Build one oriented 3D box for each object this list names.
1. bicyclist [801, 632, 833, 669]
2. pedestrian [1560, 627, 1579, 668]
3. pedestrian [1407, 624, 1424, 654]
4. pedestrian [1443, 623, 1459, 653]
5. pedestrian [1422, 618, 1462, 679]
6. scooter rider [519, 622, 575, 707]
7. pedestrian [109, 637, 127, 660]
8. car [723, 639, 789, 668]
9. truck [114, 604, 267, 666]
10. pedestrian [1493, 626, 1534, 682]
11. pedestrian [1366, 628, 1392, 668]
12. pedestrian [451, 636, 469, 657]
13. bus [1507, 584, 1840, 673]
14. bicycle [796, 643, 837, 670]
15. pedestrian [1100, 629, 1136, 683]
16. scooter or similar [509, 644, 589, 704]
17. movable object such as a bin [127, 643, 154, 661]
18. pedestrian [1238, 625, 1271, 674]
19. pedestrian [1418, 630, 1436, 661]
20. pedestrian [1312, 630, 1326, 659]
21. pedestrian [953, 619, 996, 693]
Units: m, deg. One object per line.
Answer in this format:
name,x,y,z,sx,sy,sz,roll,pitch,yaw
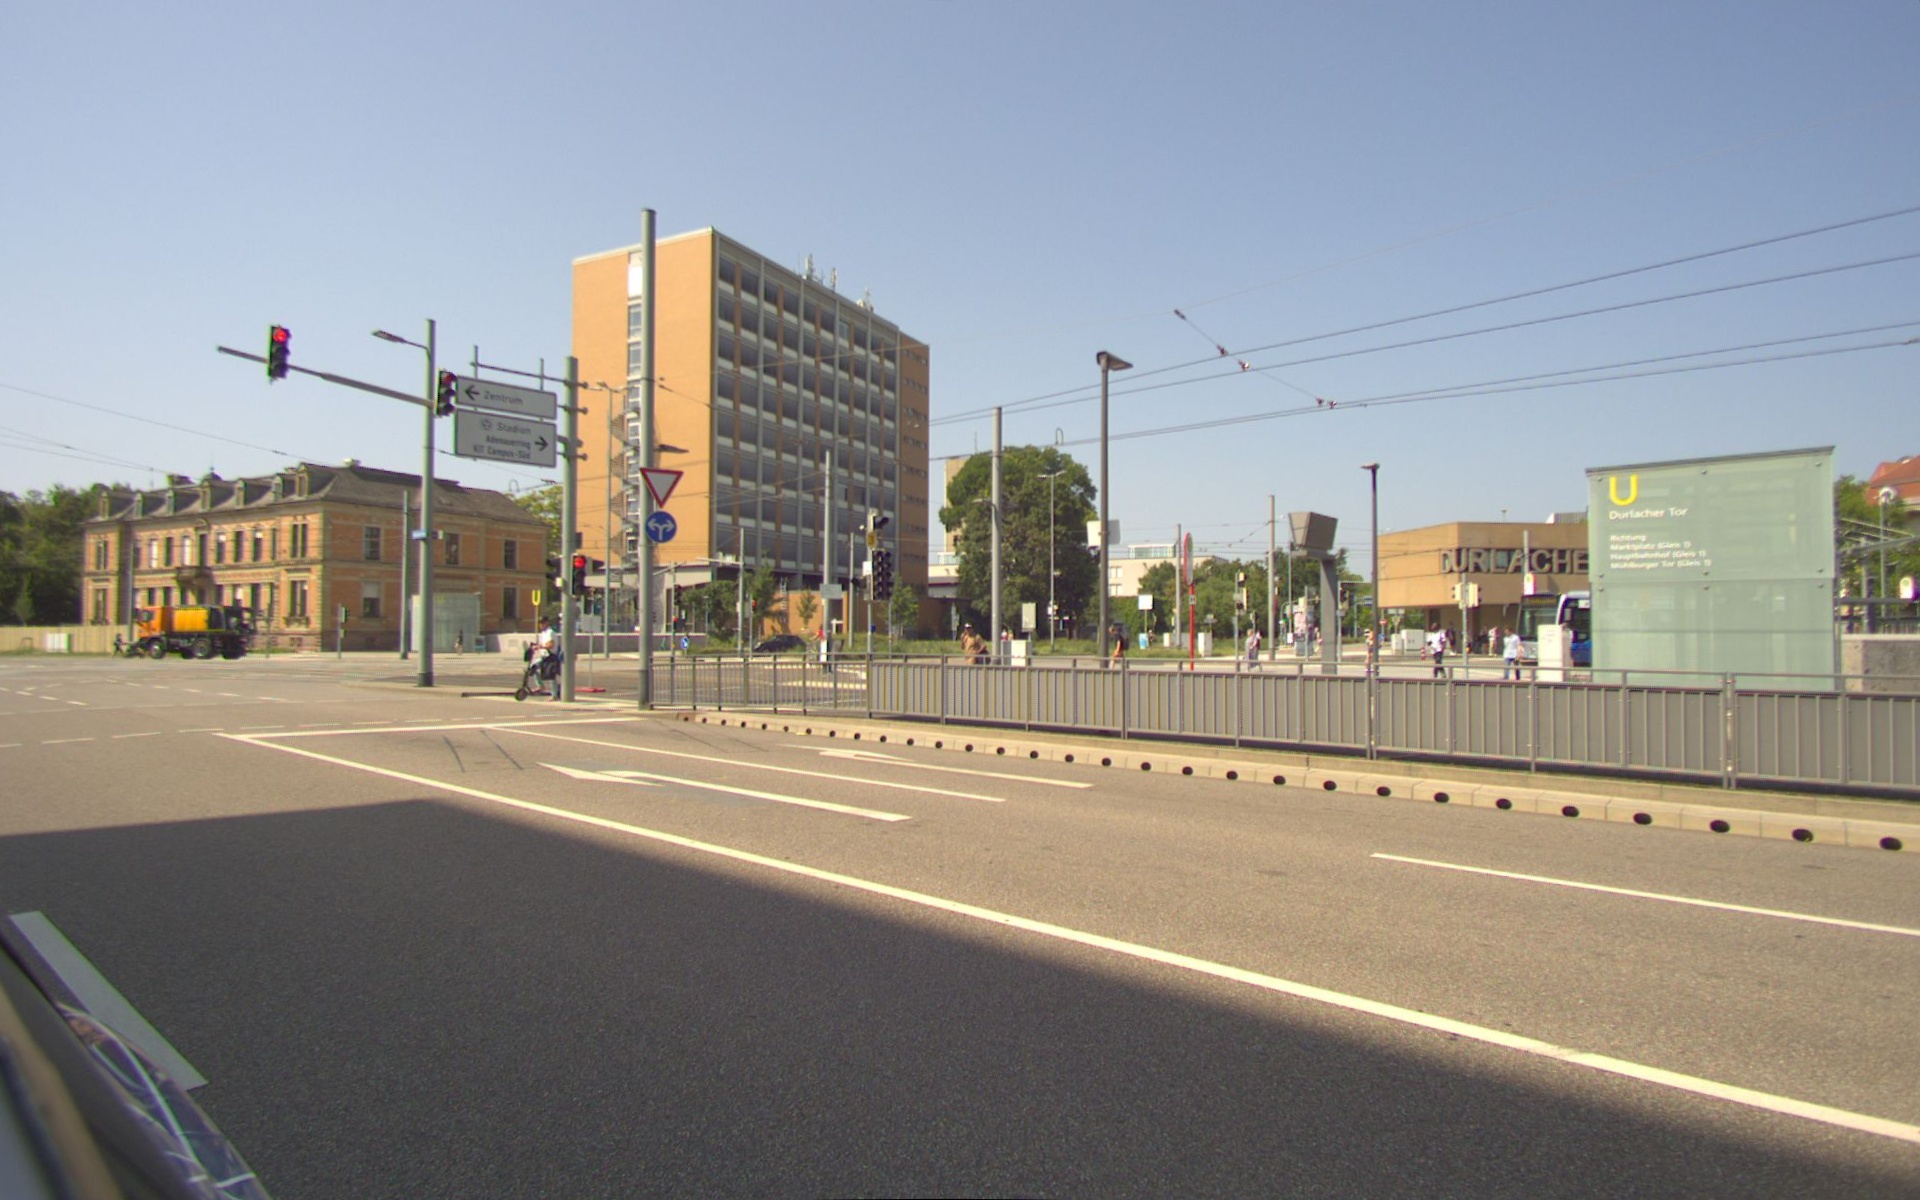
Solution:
bicyclist,-5.845,2.046,41.304,0.980,1.470,0.865,-2,-3,43
pedestrian,23.159,1.791,38.444,0.575,1.540,0.594,0,-2,30
pedestrian,25.641,2.199,56.920,0.578,1.689,0.579,-1,-4,-4
pedestrian,27.002,2.091,55.662,0.571,1.658,0.505,-5,-5,42
pedestrian,13.961,1.408,29.305,0.667,1.741,0.786,0,-3,-11
scooter rider,-8.466,1.307,20.763,0.777,1.686,0.764,-2,-3,36
pedestrian,-51.512,2.967,61.923,0.804,1.362,0.720,2,-4,-43
car,-13.868,3.637,68.703,3.932,1.808,2.006,0,-4,-31
truck,-44.640,2.088,58.791,7.111,3.254,3.033,-2,-4,10
pedestrian,15.669,1.526,28.657,0.667,1.560,0.786,0,-1,-11
pedestrian,19.115,2.186,46.201,0.945,1.793,0.786,2,-2,-44
pedestrian,-33.434,3.091,67.623,0.786,1.405,0.836,-3,-3,42
bus,29.044,1.138,41.306,12.554,3.356,2.682,-1,-2,-8
bicycle,-5.883,2.313,41.347,1.913,1.078,0.606,-2,-3,44
pedestrian,5.440,1.904,34.771,0.959,1.793,0.774,-1,-2,42
scooter or similar,-8.424,1.496,20.775,0.708,1.157,1.325,-2,-3,38
movable object such as a bin,-50.479,3.198,62.363,1.021,1.093,0.822,-1,-3,-9
pedestrian,11.015,1.836,37.809,0.959,1.793,0.774,-1,-2,42
pedestrian,26.341,2.560,57.081,0.578,1.689,0.579,-1,-4,-4
pedestrian,22.200,2.754,62.583,0.551,1.830,0.562,0,-3,-12
pedestrian,0.336,1.313,23.710,0.795,1.672,0.570,-3,-4,22
